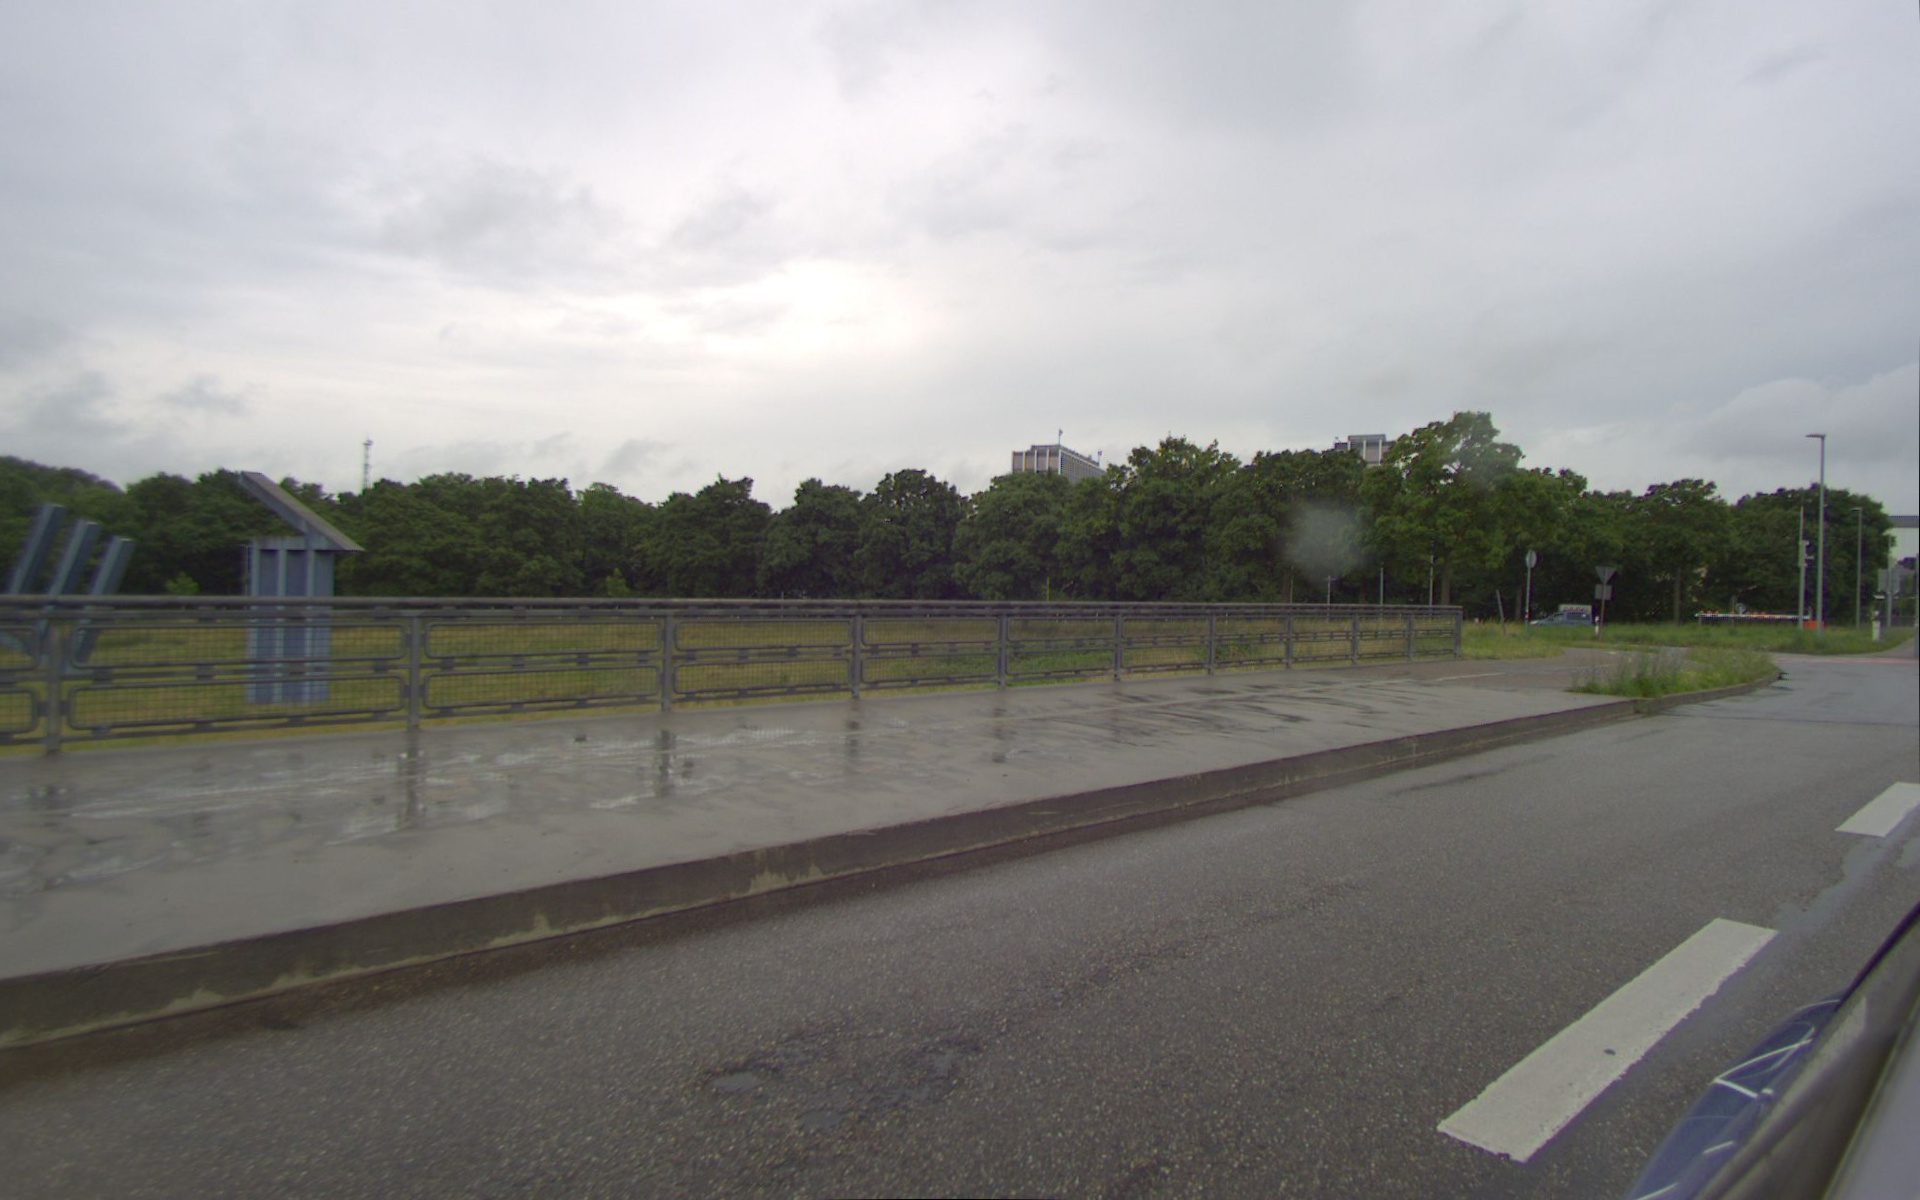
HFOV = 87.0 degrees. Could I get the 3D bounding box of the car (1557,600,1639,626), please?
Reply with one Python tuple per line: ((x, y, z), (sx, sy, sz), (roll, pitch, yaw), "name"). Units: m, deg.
((45.436, 0.942, 72.163), (4.773, 1.773, 1.833), (-1, -1, 29), "car")
